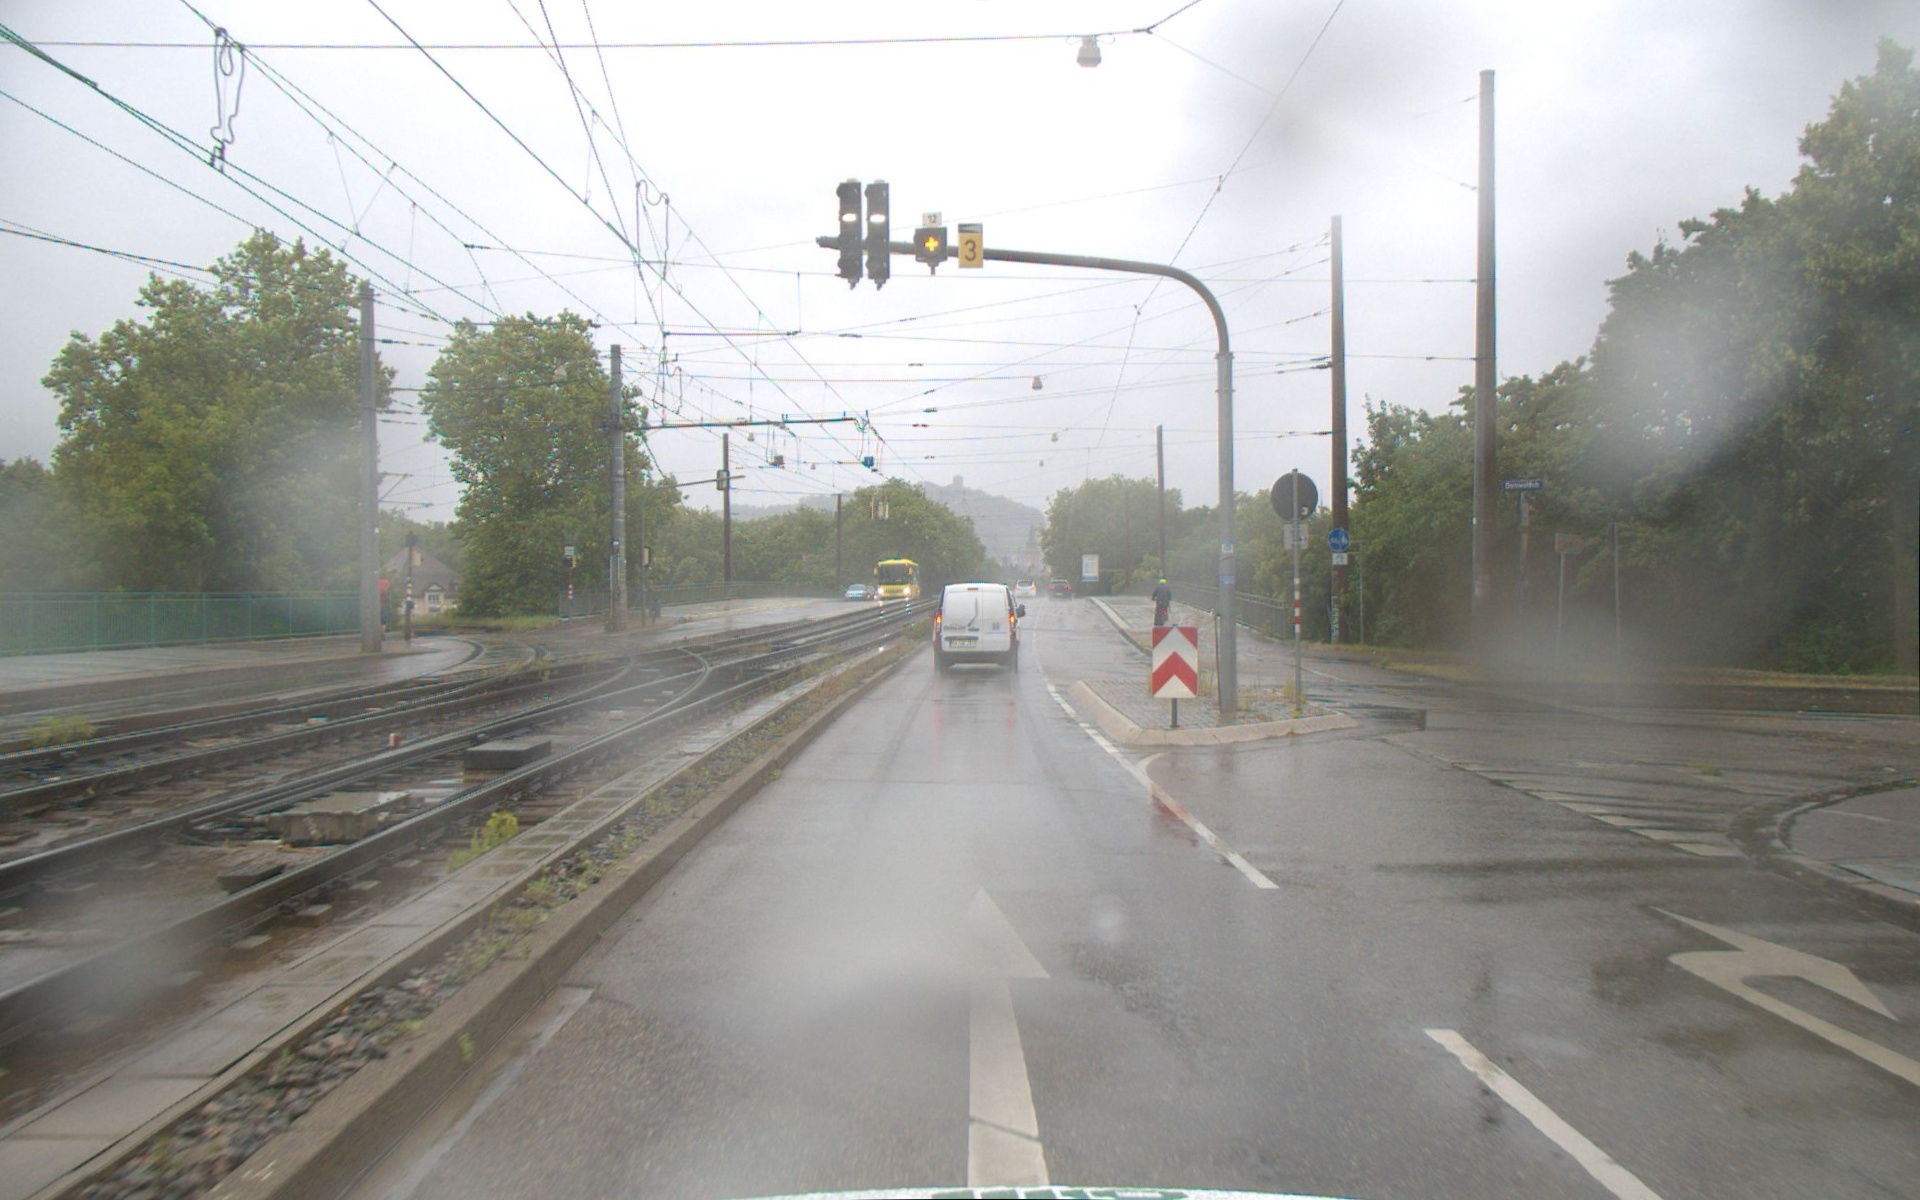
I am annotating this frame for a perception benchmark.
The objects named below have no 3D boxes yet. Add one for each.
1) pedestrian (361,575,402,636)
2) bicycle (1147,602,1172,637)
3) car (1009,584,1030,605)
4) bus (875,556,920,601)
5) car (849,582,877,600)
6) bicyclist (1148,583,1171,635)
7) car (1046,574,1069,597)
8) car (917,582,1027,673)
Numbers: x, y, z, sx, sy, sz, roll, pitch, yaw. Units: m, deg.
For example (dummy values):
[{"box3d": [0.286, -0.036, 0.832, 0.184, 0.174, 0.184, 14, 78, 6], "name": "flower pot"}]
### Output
[{"box3d": [-17.749, 0.173, 50.752, 0.846, 1.850, 1.043, 1, -1, 1], "name": "pedestrian"}, {"box3d": [6.899, 0.671, 57.206, 0.708, 1.148, 2.169, 1, 0, 3], "name": "bicycle"}, {"box3d": [4.620, -0.424, 128.143, 1.421, 1.526, 2.981, 1, 0, -1], "name": "car"}, {"box3d": [-5.083, -1.827, 137.451, 2.652, 3.398, 10.999, -2, 2, 3], "name": "bus"}, {"box3d": [-8.088, -0.755, 138.178, 1.894, 1.252, 4.102, -2, 2, 3], "name": "car"}, {"box3d": [6.893, 0.309, 57.194, 0.710, 1.794, 0.949, 1, -1, 3], "name": "bicyclist"}, {"box3d": [6.924, -1.009, 117.799, 1.421, 1.526, 2.981, 1, 0, -1], "name": "car"}, {"box3d": [0.316, 0.568, 34.662, 1.951, 1.756, 4.002, 1, 0, 5], "name": "car"}]
